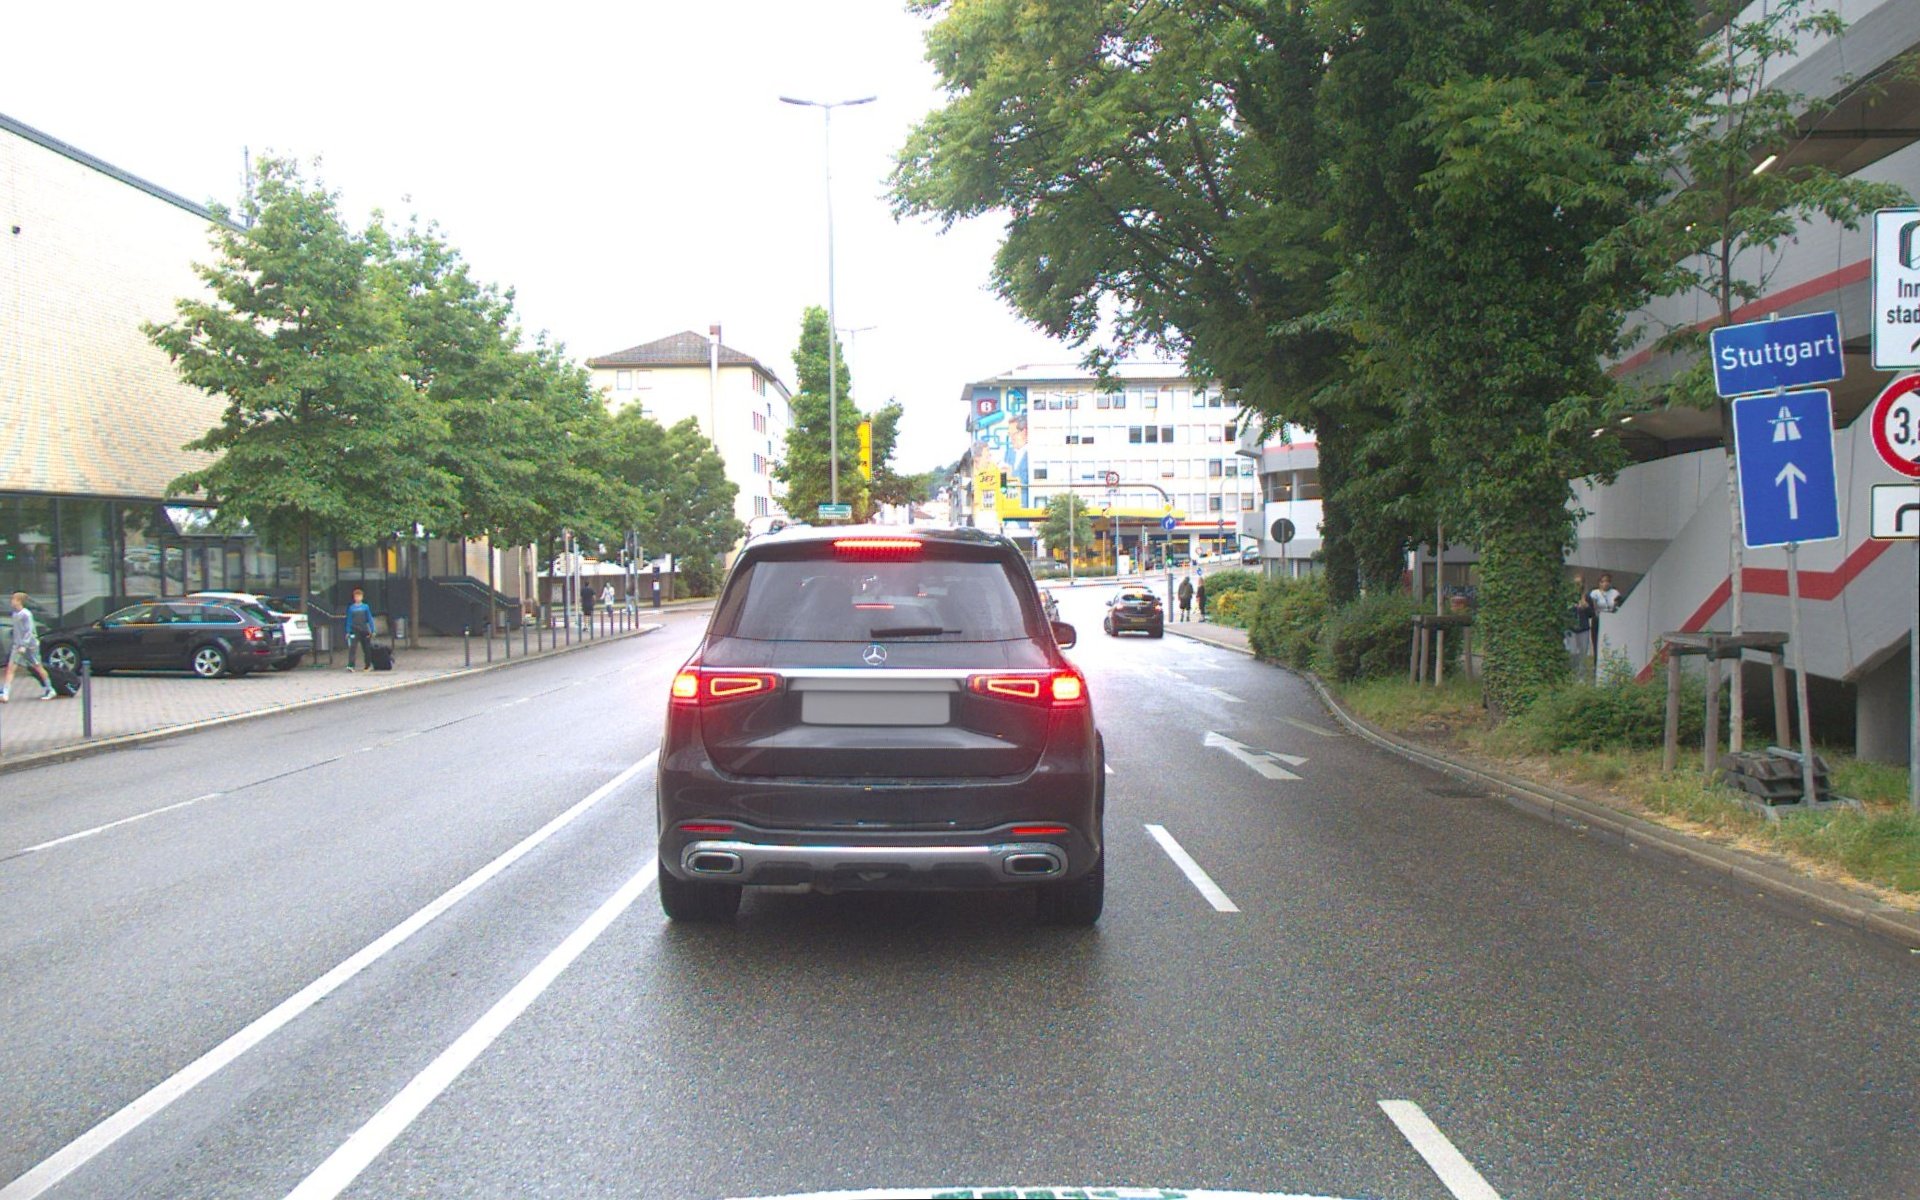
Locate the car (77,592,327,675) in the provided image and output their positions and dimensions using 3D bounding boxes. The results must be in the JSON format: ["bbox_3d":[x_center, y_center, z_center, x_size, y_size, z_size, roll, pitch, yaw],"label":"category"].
[{"bbox_3d":[-15.783,0.680,34.634,4.331,1.601,1.998,1,2,-6],"label":"car"}]

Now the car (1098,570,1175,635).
[{"bbox_3d":[5.784,0.060,54.665,1.954,2.049,3.998,0,1,-3],"label":"car"}]

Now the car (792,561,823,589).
[{"bbox_3d":[-11.117,-1.796,120.891,1.954,1.908,5.139,1,0,-3],"label":"car"}]

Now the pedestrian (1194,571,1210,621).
[{"bbox_3d":[9.599,-0.164,65.594,0.509,1.944,0.556,1,-1,-1],"label":"pedestrian"}]

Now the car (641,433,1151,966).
[{"bbox_3d":[-0.315,0.405,8.455,1.953,2.049,3.998,1,0,-2],"label":"car"}]

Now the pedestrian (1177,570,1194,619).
[{"bbox_3d":[9.132,-0.225,66.924,0.607,1.969,0.610,1,-1,2],"label":"pedestrian"}]

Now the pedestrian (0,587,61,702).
[{"bbox_3d":[-14.202,0.674,25.258,0.662,1.727,0.479,1,0,-1],"label":"pedestrian"}]

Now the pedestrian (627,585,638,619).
[{"bbox_3d":[-16.225,0.097,81.895,0.391,1.673,0.567,1,-1,-1],"label":"pedestrian"}]

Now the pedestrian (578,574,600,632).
[{"bbox_3d":[-13.433,0.109,59.833,0.576,2.049,0.749,2,-1,-3],"label":"pedestrian"}]

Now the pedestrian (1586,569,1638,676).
[{"bbox_3d":[9.527,0.327,24.182,0.569,1.528,0.504,1,-1,4],"label":"pedestrian"}]

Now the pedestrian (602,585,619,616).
[{"bbox_3d":[-17.040,0.024,80.735,0.697,1.487,0.598,1,-1,-2],"label":"pedestrian"}]

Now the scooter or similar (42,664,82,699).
[{"bbox_3d":[-14.031,1.273,25.841,0.274,0.509,0.616,1,-1,0],"label":"scooter or similar"}]

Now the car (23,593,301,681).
[{"bbox_3d":[-15.265,0.679,31.863,4.383,1.615,1.997,0,0,-8],"label":"car"}]

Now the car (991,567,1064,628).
[{"bbox_3d":[2.364,-0.077,59.141,1.956,2.049,3.994,1,0,-7],"label":"car"}]

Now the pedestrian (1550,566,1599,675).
[{"bbox_3d":[8.945,0.294,24.081,0.539,1.559,0.488,1,-1,5],"label":"pedestrian"}]

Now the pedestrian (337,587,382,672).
[{"bbox_3d":[-12.683,0.620,34.947,0.675,1.755,0.754,1,1,-2],"label":"pedestrian"}]
